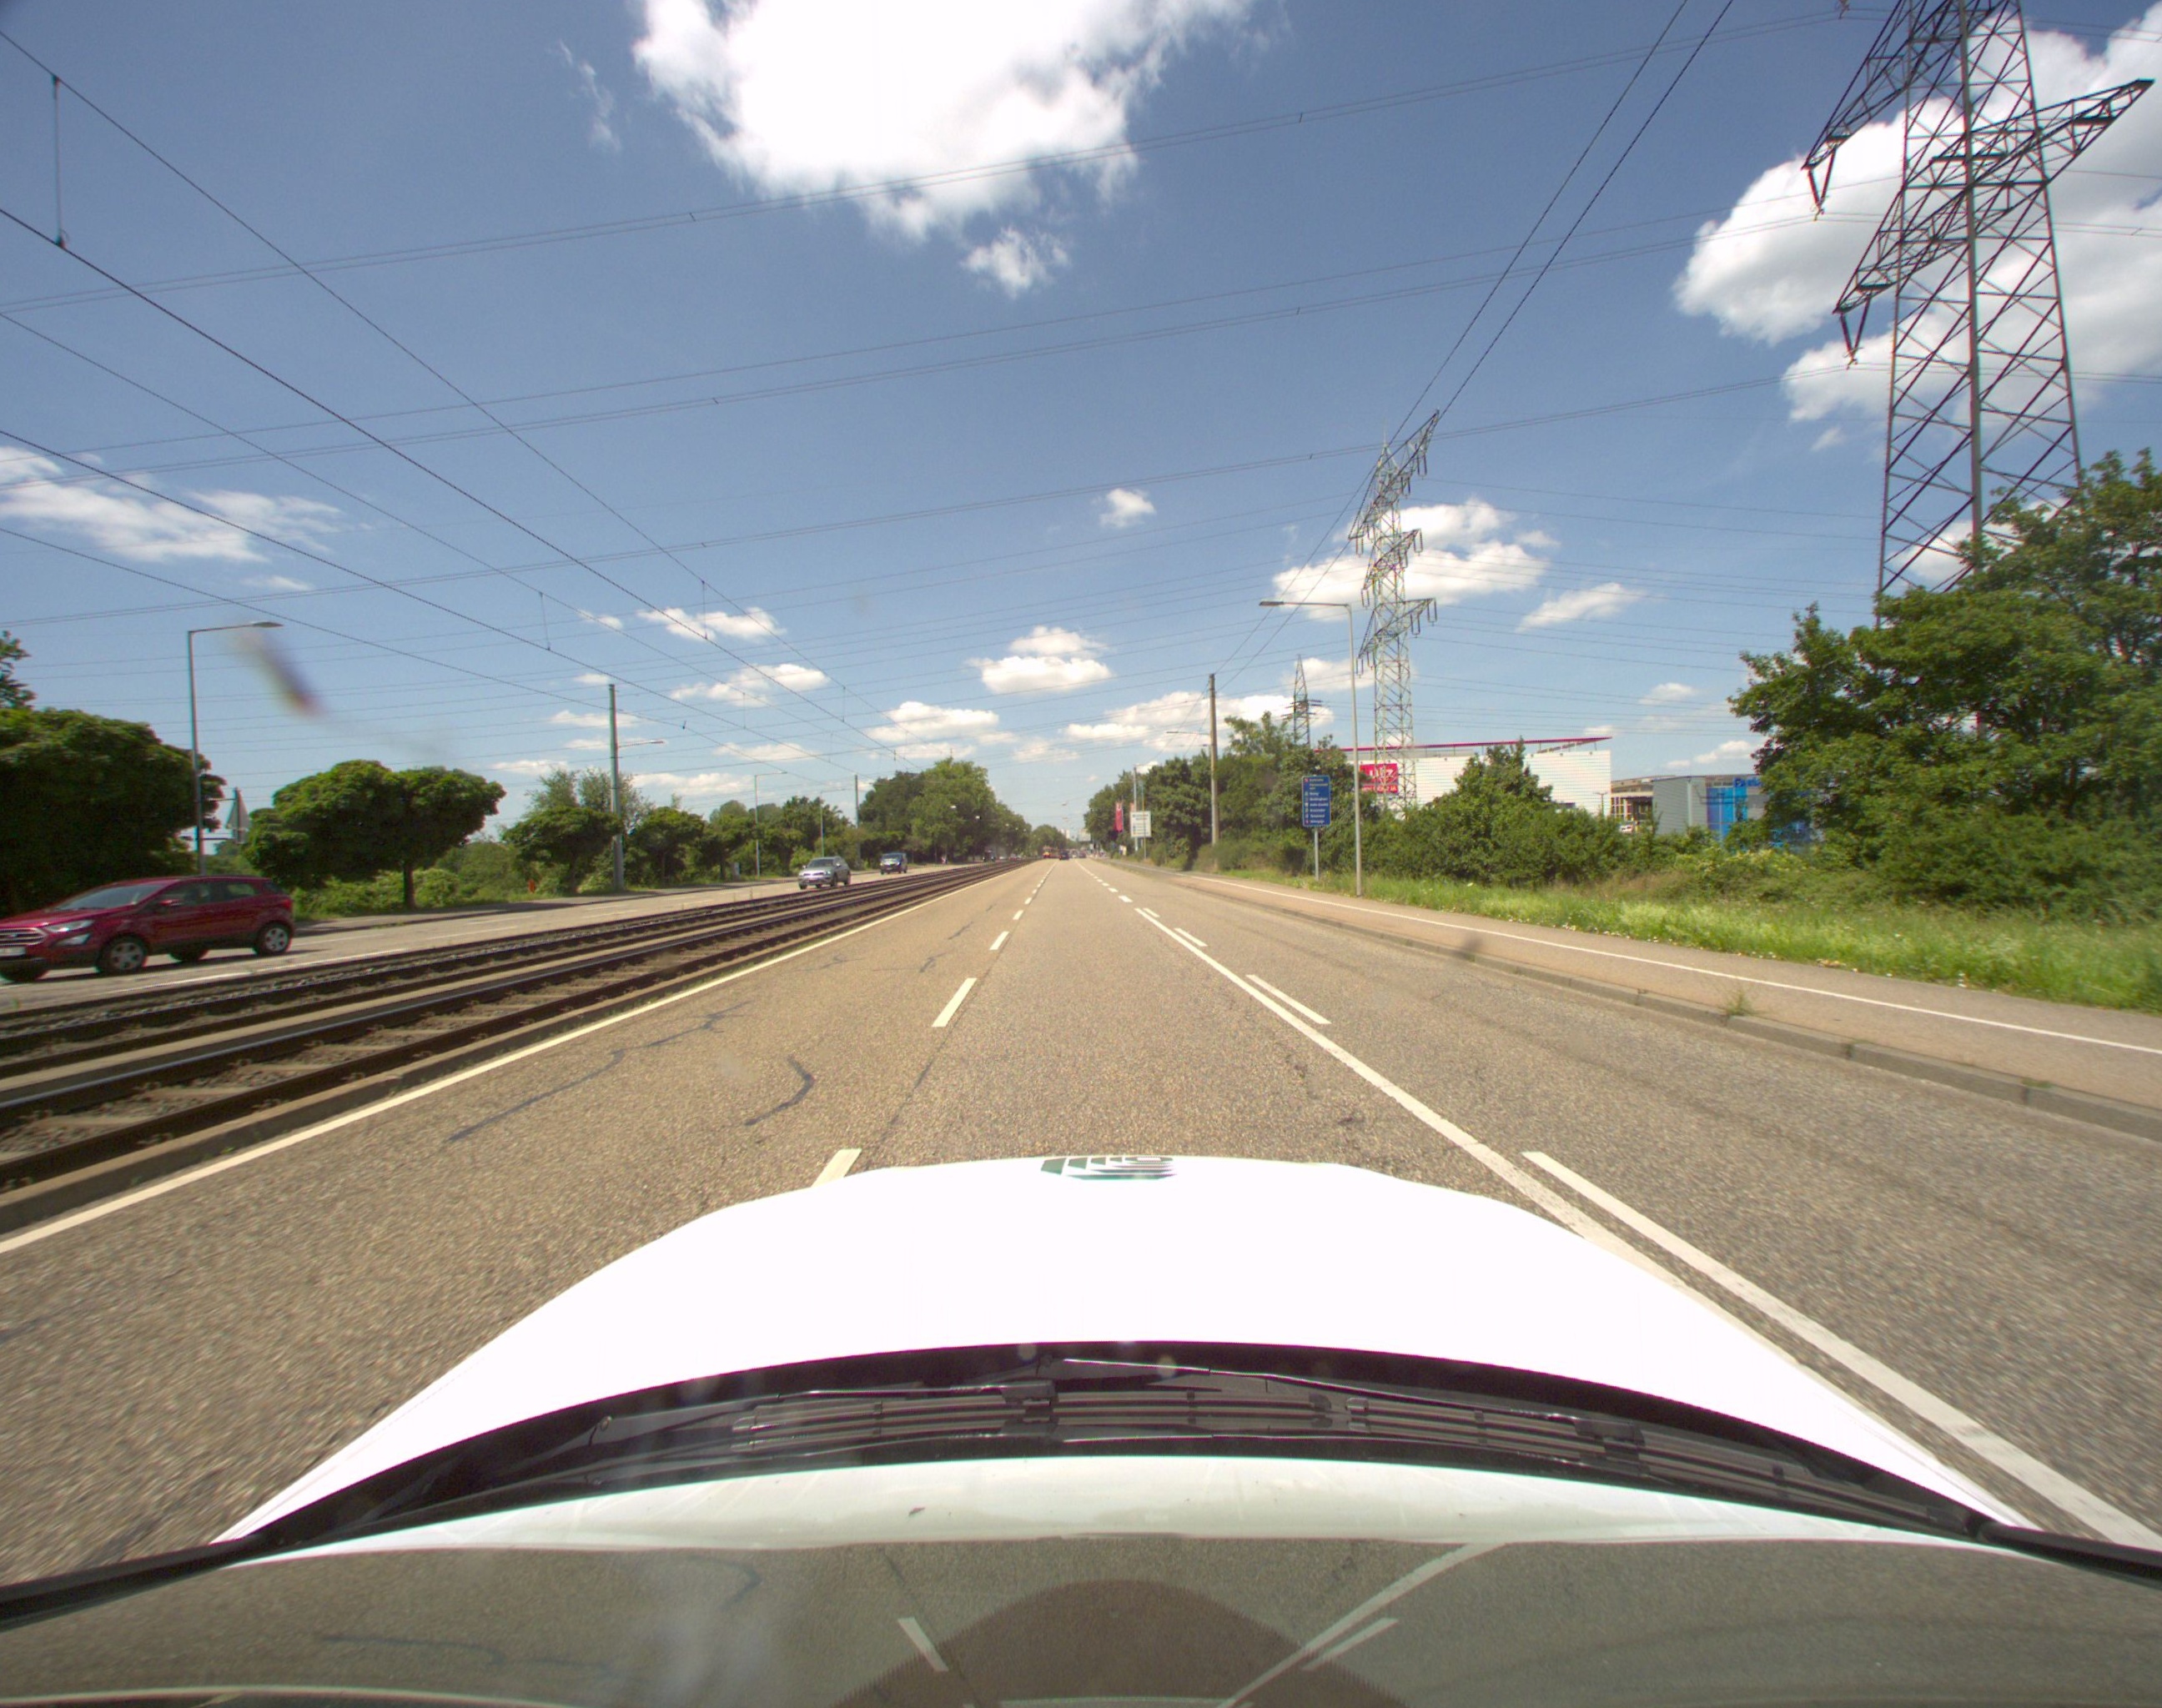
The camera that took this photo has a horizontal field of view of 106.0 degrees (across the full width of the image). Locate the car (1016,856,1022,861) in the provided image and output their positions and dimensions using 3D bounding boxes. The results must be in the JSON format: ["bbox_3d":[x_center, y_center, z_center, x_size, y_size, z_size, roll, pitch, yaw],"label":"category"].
[{"bbox_3d":[-18.044,1.292,237.833,1.632,1.436,3.719,-3,0,-2],"label":"car"}]

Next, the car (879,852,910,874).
[{"bbox_3d":[-17.679,0.820,77.406,1.852,1.927,5.005,-3,0,-1],"label":"car"}]

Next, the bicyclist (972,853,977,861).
[{"bbox_3d":[-21.424,0.572,163.992,0.620,1.617,1.063,0,0,5],"label":"bicyclist"}]

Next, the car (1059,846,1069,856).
[{"bbox_3d":[-3.052,-0.455,147.298,1.894,1.805,3.974,0,0,-1],"label":"car"}]

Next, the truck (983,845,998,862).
[{"bbox_3d":[-18.427,-0.068,166.552,2.242,3.236,6.041,-2,0,0],"label":"truck"}]

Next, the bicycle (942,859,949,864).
[{"bbox_3d":[-21.950,1.188,131.964,0.648,0.859,2.122,0,0,3],"label":"bicycle"}]

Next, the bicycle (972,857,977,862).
[{"bbox_3d":[-21.423,1.038,164.040,0.620,0.979,2.057,1,0,5],"label":"bicycle"}]

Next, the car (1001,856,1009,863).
[{"bbox_3d":[-17.609,1.185,188.797,1.748,1.535,3.954,-3,0,-2],"label":"car"}]

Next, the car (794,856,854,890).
[{"bbox_3d":[-13.603,0.958,43.338,1.796,1.625,4.491,-3,0,-2],"label":"car"}]

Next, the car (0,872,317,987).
[{"bbox_3d":[-16.746,1.242,14.759,1.796,1.625,4.209,-3,0,-2],"label":"car"}]

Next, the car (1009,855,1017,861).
[{"bbox_3d":[-18.198,1.017,218.234,1.632,1.421,4.126,-3,0,0],"label":"car"}]

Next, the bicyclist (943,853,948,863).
[{"bbox_3d":[-21.952,0.661,131.930,0.648,1.620,1.156,0,0,2],"label":"bicyclist"}]
